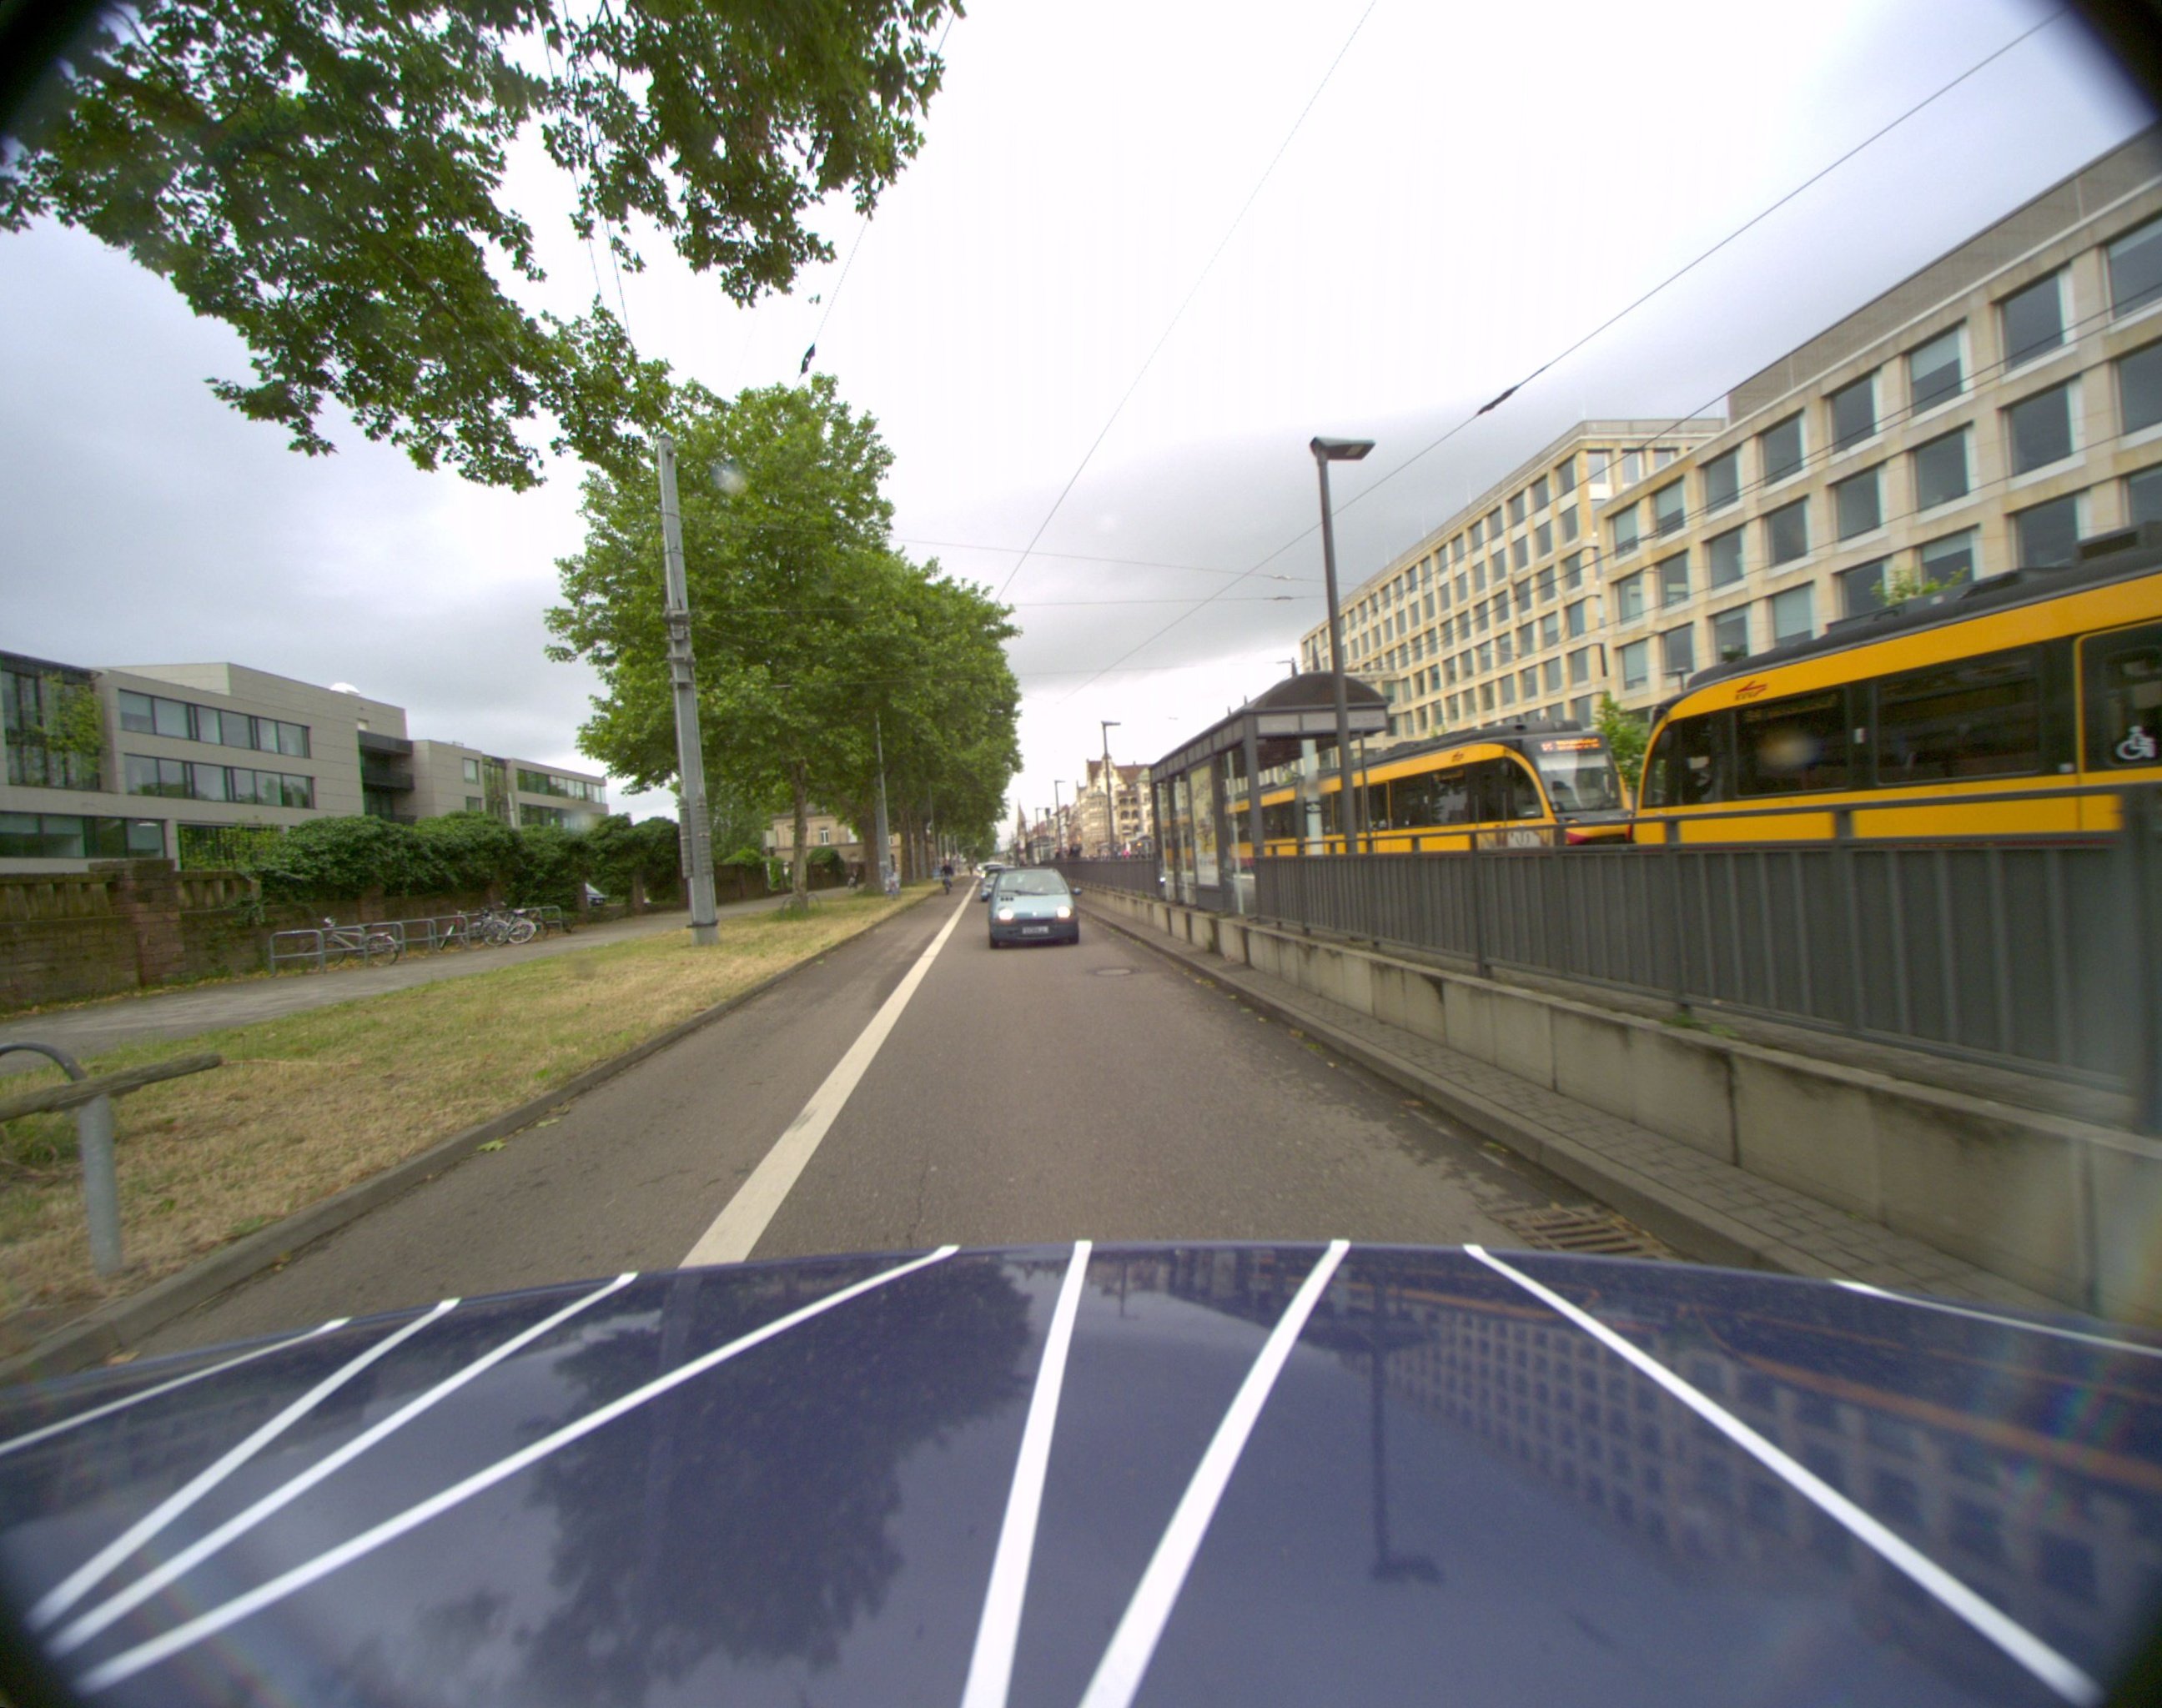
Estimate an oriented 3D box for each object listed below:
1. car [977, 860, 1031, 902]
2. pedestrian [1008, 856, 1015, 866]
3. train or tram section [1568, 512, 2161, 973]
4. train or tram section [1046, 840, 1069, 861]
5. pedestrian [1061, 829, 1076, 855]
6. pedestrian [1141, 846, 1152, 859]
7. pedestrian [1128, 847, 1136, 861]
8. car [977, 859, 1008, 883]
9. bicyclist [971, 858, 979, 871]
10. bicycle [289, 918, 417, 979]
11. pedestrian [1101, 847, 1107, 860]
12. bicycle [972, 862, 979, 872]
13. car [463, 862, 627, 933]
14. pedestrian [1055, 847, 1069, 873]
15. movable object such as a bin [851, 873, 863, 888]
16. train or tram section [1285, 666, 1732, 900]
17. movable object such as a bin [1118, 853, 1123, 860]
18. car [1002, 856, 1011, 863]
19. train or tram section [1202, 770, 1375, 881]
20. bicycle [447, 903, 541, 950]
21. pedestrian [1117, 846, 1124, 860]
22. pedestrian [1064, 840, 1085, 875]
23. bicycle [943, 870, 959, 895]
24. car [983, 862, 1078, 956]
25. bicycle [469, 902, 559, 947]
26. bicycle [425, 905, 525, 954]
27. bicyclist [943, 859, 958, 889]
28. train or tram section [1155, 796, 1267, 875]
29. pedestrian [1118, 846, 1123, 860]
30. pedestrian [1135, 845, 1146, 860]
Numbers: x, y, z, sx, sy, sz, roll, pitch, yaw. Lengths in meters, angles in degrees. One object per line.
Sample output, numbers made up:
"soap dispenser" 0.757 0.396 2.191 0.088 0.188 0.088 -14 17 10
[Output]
"car" -3.255 1.077 31.830 1.999 1.443 4.097 -4 1 -6
"pedestrian" -12.285 1.292 133.814 0.651 1.633 0.862 -3 2 42
"train or tram section" 11.400 -1.094 6.747 3.190 4.155 14.724 -4 1 -6
"train or tram section" -4.481 -0.648 141.883 2.863 3.671 13.510 -4 1 -7
"pedestrian" -0.945 -0.880 55.553 0.672 1.783 1.111 -4 1 -20
"pedestrian" 7.385 -0.162 85.845 1.041 1.364 0.939 -4 1 -4
"pedestrian" 6.118 0.024 90.922 0.580 1.598 0.655 -5 2 -40
"car" -6.166 1.132 53.187 1.999 1.443 4.097 -4 1 -6
"bicyclist" -13.495 1.354 96.859 0.813 1.591 1.189 -4 1 -9
"bicycle" -15.135 1.945 15.833 1.927 1.085 0.549 -3 1 -8
"pedestrian" 3.203 -0.105 105.323 0.597 1.759 0.588 -4 1 0
"bicycle" -13.480 1.659 96.834 0.815 1.163 2.275 -4 1 -8
"car" -23.179 1.831 33.089 5.249 2.408 2.073 -6 1 -9
"pedestrian" -1.354 0.403 54.023 0.672 1.783 1.111 -4 1 -15
"movable object such as a bin" -18.135 2.148 61.608 0.613 1.106 1.014 -4 0 -1
"train or tram section" 9.828 -1.370 20.878 3.190 4.155 13.611 -4 1 -6
"movable object such as a bin" 4.834 0.329 92.375 0.537 0.743 0.469 -4 1 0
"car" -18.611 1.333 189.235 1.870 1.630 3.772 -4 1 -8
"train or tram section" 8.467 -1.073 33.289 3.173 3.840 11.304 -4 1 -6
"bicycle" -15.715 1.930 20.374 1.906 1.091 0.549 -3 1 -8
"pedestrian" 5.129 -0.156 99.463 0.589 1.759 0.596 -5 2 -43
"pedestrian" -0.386 0.194 44.910 1.061 2.002 0.839 -4 1 -6
"bicycle" -6.823 1.476 39.957 0.654 1.143 2.281 -4 1 -8
"car" -1.015 0.966 14.700 1.535 1.464 3.351 -3 1 -5
"bicycle" -15.641 1.932 20.989 1.896 1.098 0.549 -3 1 -8
"bicycle" -15.702 1.948 19.733 1.981 1.088 0.549 -3 1 -8
"bicyclist" -6.869 1.064 39.996 0.643 1.522 0.664 -4 1 -8
"train or tram section" 7.237 -1.009 44.611 3.247 3.840 11.304 -4 1 -6
"pedestrian" 4.795 -0.123 91.840 0.537 1.598 0.565 -4 1 0
"pedestrian" 6.895 -0.212 87.985 1.041 1.676 0.939 -4 1 -4
